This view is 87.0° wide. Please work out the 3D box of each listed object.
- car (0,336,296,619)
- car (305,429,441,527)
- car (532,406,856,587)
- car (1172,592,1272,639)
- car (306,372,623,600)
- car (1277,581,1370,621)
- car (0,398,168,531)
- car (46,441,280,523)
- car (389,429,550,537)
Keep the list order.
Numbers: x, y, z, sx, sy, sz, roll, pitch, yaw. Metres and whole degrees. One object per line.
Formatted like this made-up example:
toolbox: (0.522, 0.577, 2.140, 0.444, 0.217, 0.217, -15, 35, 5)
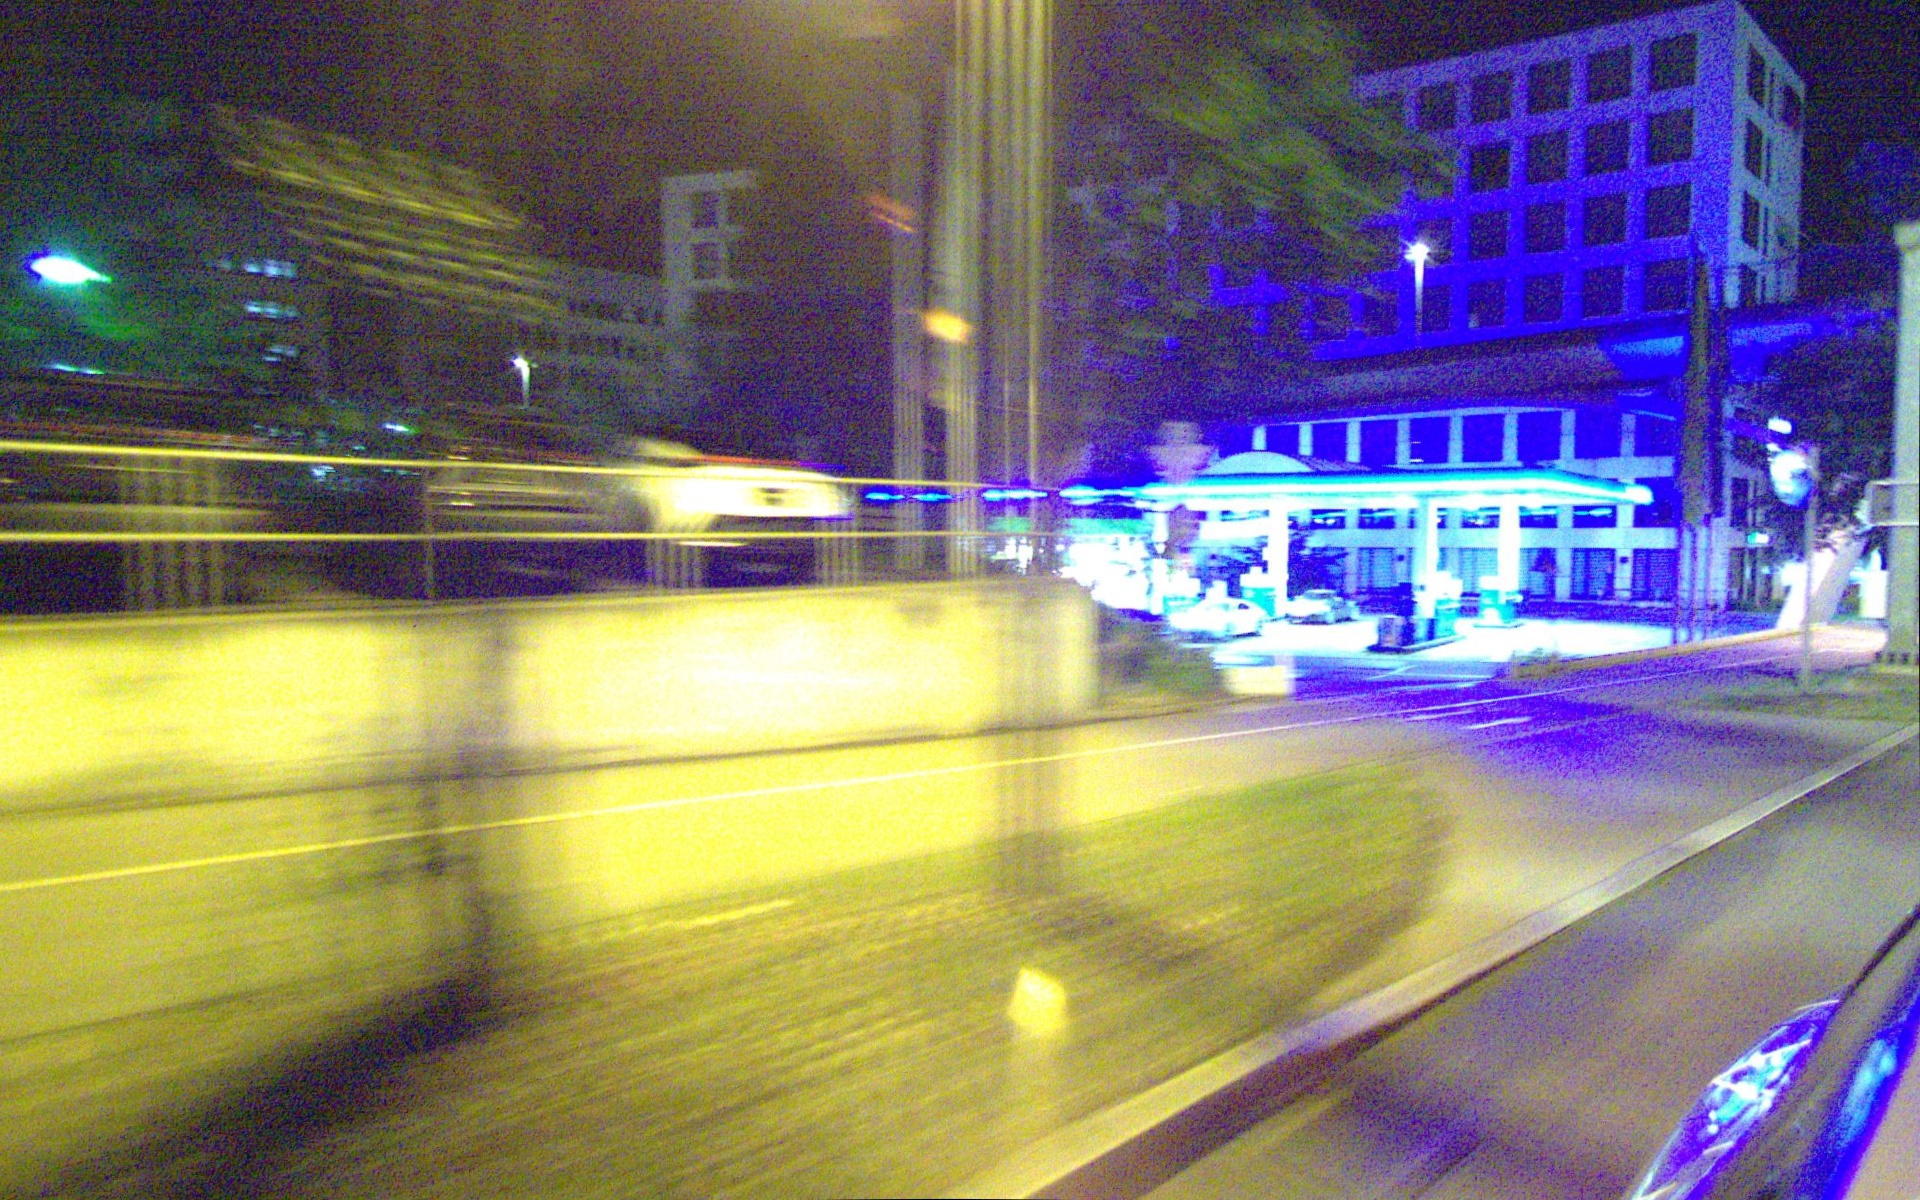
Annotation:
car: (-6.323, -0.889, 7.508, 1.751, 1.605, 3.755, -3, 7, -42)
car: (-12.978, -2.644, 22.280, 1.724, 1.917, 3.814, -2, 6, -44)
car: (-3.006, -1.068, 10.845, 1.791, 1.540, 4.130, -3, 6, -39)
car: (9.008, 0.490, 34.601, 1.652, 1.375, 4.007, 1, 3, 42)
car: (-4.646, -0.979, 9.188, 1.708, 1.589, 3.998, -2, 6, -39)
car: (14.664, -0.011, 40.675, 1.928, 1.379, 4.267, 3, 4, 44)
car: (-13.453, -2.068, 15.749, 1.719, 1.745, 4.375, -2, 7, -38)
car: (-21.770, -3.212, 27.747, 5.154, 1.993, 2.185, 2, 3, 10)
car: (-9.142, -2.165, 18.711, 1.805, 1.751, 4.000, -2, 7, -39)
